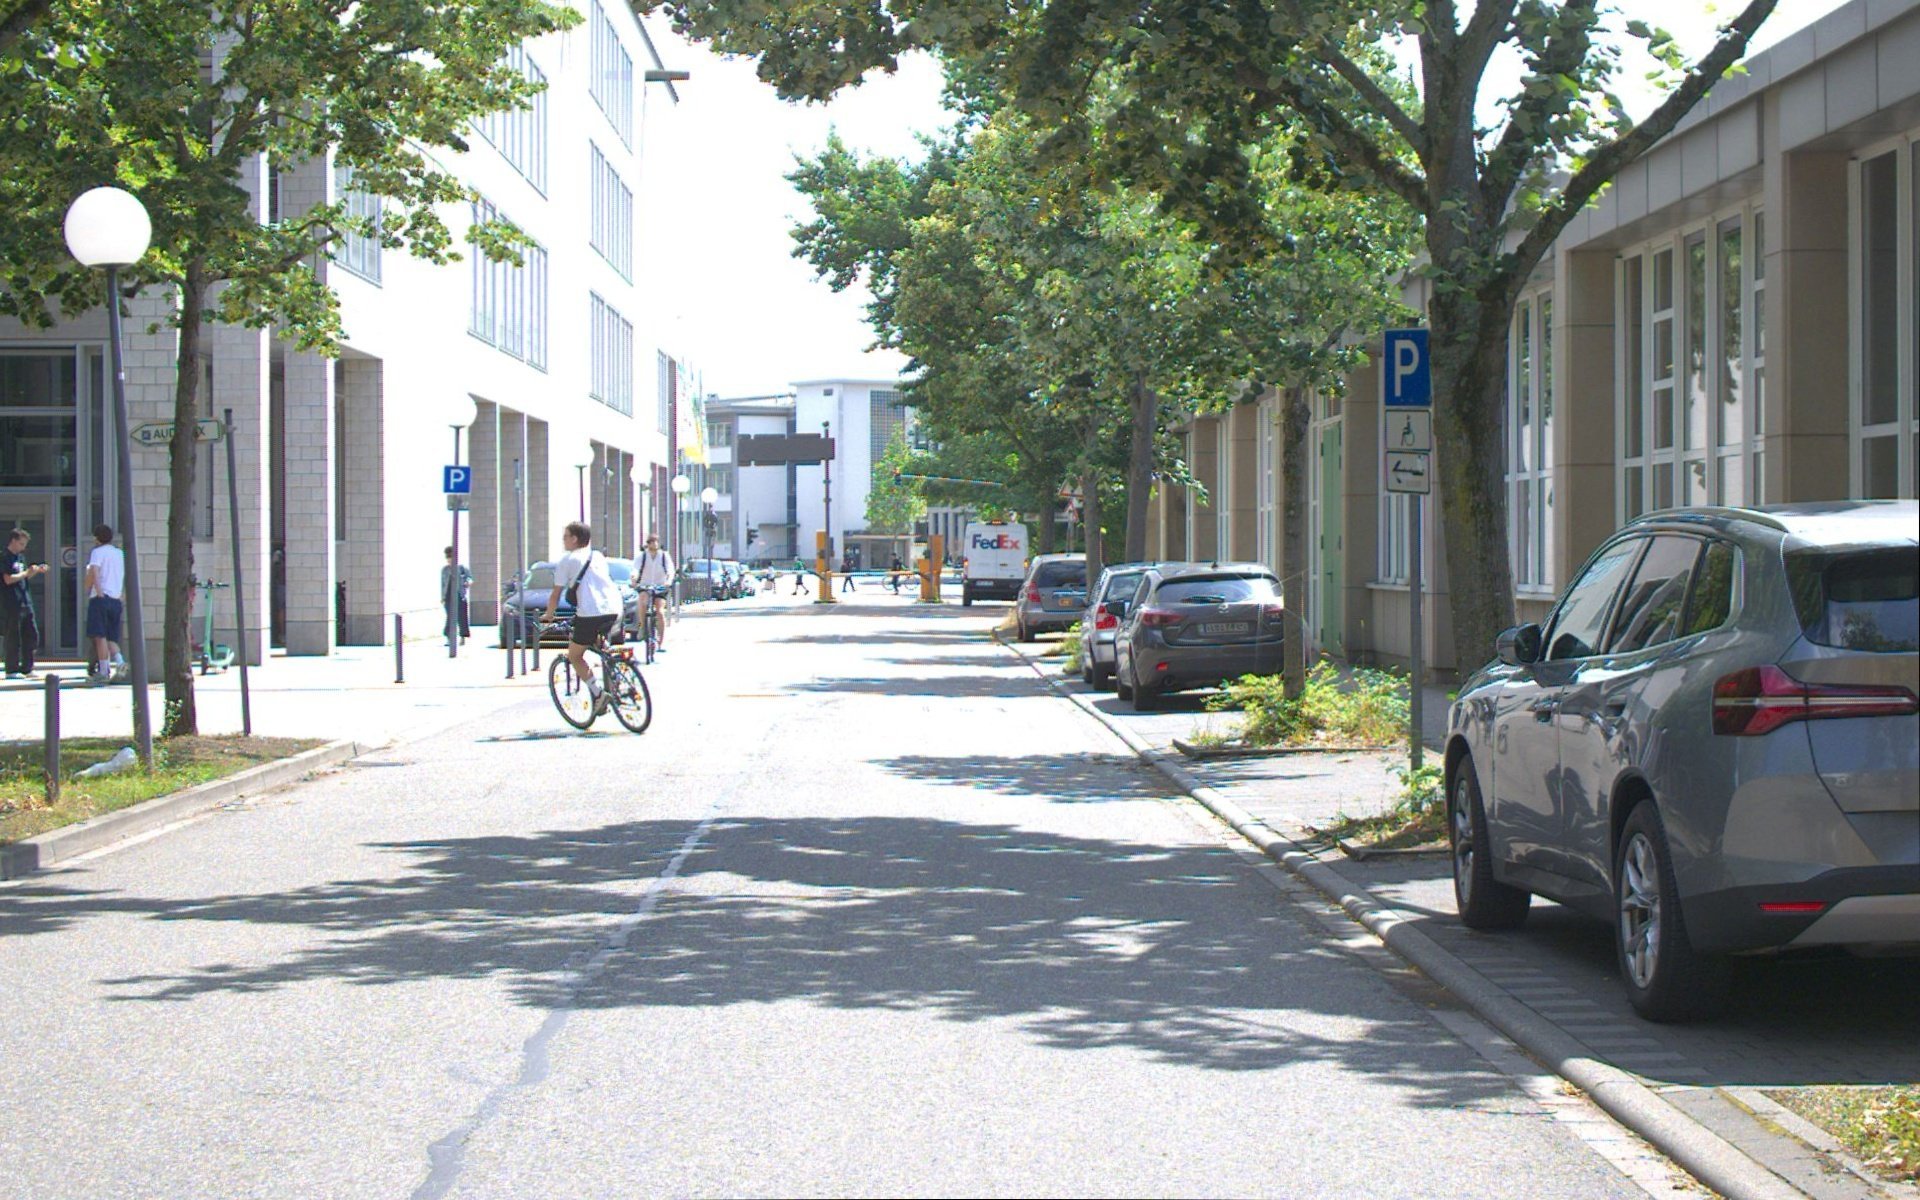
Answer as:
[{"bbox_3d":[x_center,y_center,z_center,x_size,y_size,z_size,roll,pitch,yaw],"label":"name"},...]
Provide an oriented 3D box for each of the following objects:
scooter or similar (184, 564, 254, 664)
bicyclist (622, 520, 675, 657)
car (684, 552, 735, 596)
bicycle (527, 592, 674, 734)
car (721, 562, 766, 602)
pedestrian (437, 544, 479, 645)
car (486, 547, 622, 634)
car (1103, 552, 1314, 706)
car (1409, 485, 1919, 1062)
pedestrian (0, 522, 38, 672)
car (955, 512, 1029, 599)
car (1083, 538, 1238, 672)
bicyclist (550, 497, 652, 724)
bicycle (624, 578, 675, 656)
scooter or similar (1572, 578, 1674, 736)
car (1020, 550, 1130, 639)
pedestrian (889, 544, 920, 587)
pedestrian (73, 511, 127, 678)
[{"bbox_3d":[-9.233,0.164,42.870,0.454,1.219,1.549,0,1,3],"label":"scooter or similar"},{"bbox_3d":[-4.647,-0.180,51.401,0.711,2.007,1.019,-1,1,-3],"label":"bicyclist"},{"bbox_3d":[-9.041,-0.916,124.447,1.646,1.493,3.728,0,-1,-1],"label":"car"},{"bbox_3d":[-3.277,0.540,31.085,0.882,1.195,2.750,0,1,-15],"label":"bicycle"},{"bbox_3d":[-8.568,-0.702,136.299,1.646,1.493,3.728,0,-1,-1],"label":"car"},{"bbox_3d":[-8.480,-0.100,58.042,0.649,1.695,0.889,1,1,-11],"label":"pedestrian"},{"bbox_3d":[-6.918,-0.163,58.940,1.766,1.423,4.234,0,0,1],"label":"car"},{"bbox_3d":[2.536,0.253,35.973,1.780,1.471,4.462,-1,1,-1],"label":"car"},{"bbox_3d":[2.932,0.496,12.299,1.822,1.658,4.584,-1,0,-3],"label":"car"},{"bbox_3d":[-11.255,-0.039,40.870,0.441,1.769,0.451,0,1,-31],"label":"pedestrian"},{"bbox_3d":[0.959,-1.360,104.733,2.083,2.531,4.316,1,1,-1],"label":"car"},{"bbox_3d":[2.382,0.034,41.613,1.616,1.533,3.780,0,1,-1],"label":"car"},{"bbox_3d":[-3.231,0.087,30.868,0.873,2.007,0.850,0,1,-7],"label":"bicyclist"},{"bbox_3d":[-4.633,0.244,51.367,0.685,1.126,1.889,0,1,-3],"label":"bicycle"},{"bbox_3d":[5.444,0.454,28.283,0.511,1.245,1.486,-1,1,-1],"label":"scooter or similar"},{"bbox_3d":[2.101,-0.120,63.692,1.858,1.568,4.000,-1,1,0],"label":"car"},{"bbox_3d":[-2.765,-1.732,171.101,1.416,2.100,0.995,1,1,-4],"label":"pedestrian"},{"bbox_3d":[-10.053,-0.065,40.172,0.412,1.935,0.663,1,1,-30],"label":"pedestrian"}]
